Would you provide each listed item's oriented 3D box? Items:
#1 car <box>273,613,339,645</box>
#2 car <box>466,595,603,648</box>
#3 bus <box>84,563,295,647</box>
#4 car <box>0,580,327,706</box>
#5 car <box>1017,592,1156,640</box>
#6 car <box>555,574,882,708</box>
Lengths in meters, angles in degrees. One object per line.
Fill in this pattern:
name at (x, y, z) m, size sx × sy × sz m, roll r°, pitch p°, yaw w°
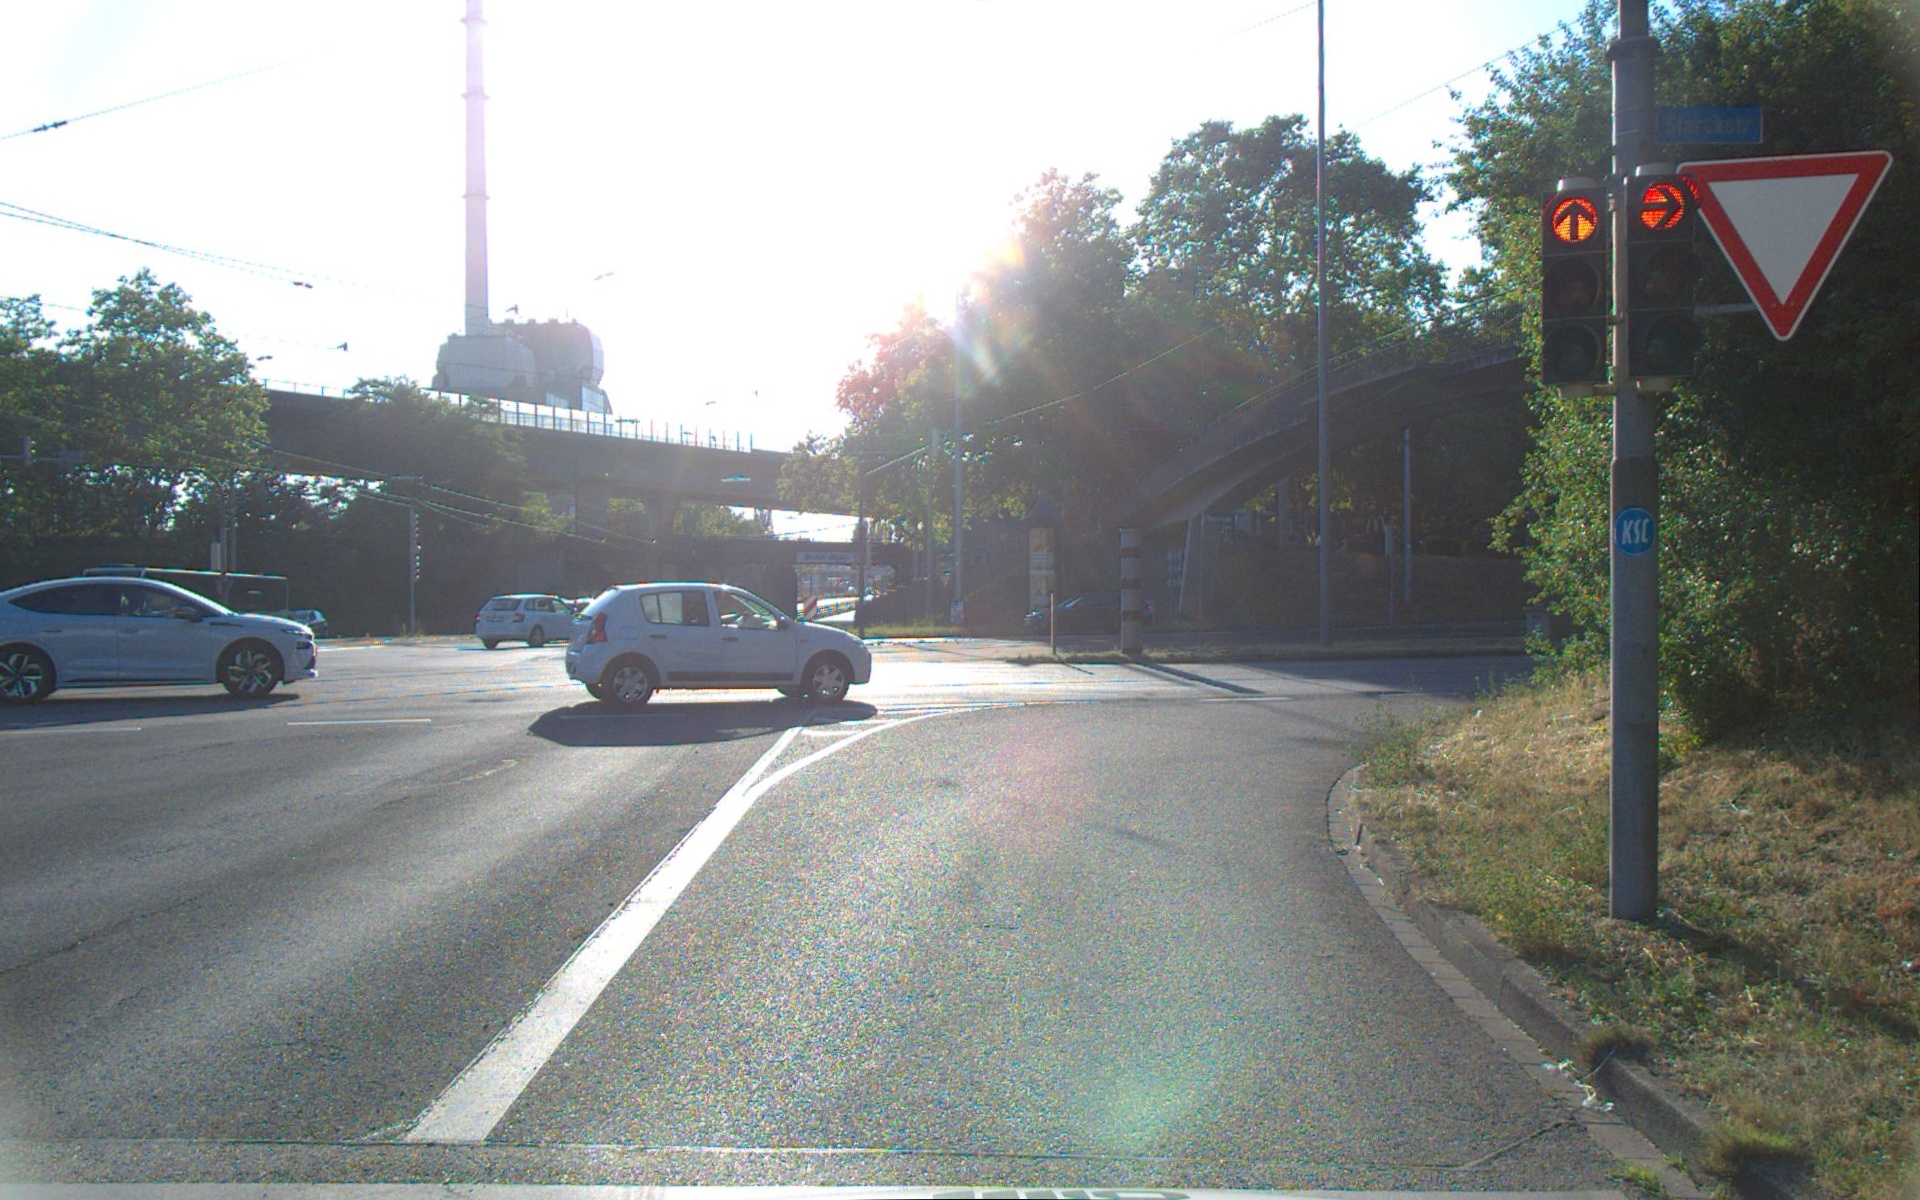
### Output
car at (-31.703, 1.382, 80.257) m, size 1.573 × 1.444 × 4.008 m, roll 1°, pitch 0°, yaw 1°
car at (-12.117, 0.592, 47.381) m, size 1.631 × 1.429 × 4.196 m, roll 1°, pitch 0°, yaw 22°
bus at (-32.009, 0.323, 69.580) m, size 2.491 × 3.185 × 12.919 m, roll -1°, pitch -1°, yaw 2°
car at (-11.349, 0.547, 22.239) m, size 5.274 × 1.602 × 1.729 m, roll 0°, pitch 0°, yaw -22°
car at (4.358, 0.554, 57.110) m, size 4.505 × 1.602 × 1.685 m, roll 1°, pitch 0°, yaw -18°
car at (-3.137, 0.500, 21.457) m, size 3.932 × 1.602 × 1.682 m, roll 0°, pitch 0°, yaw -23°
